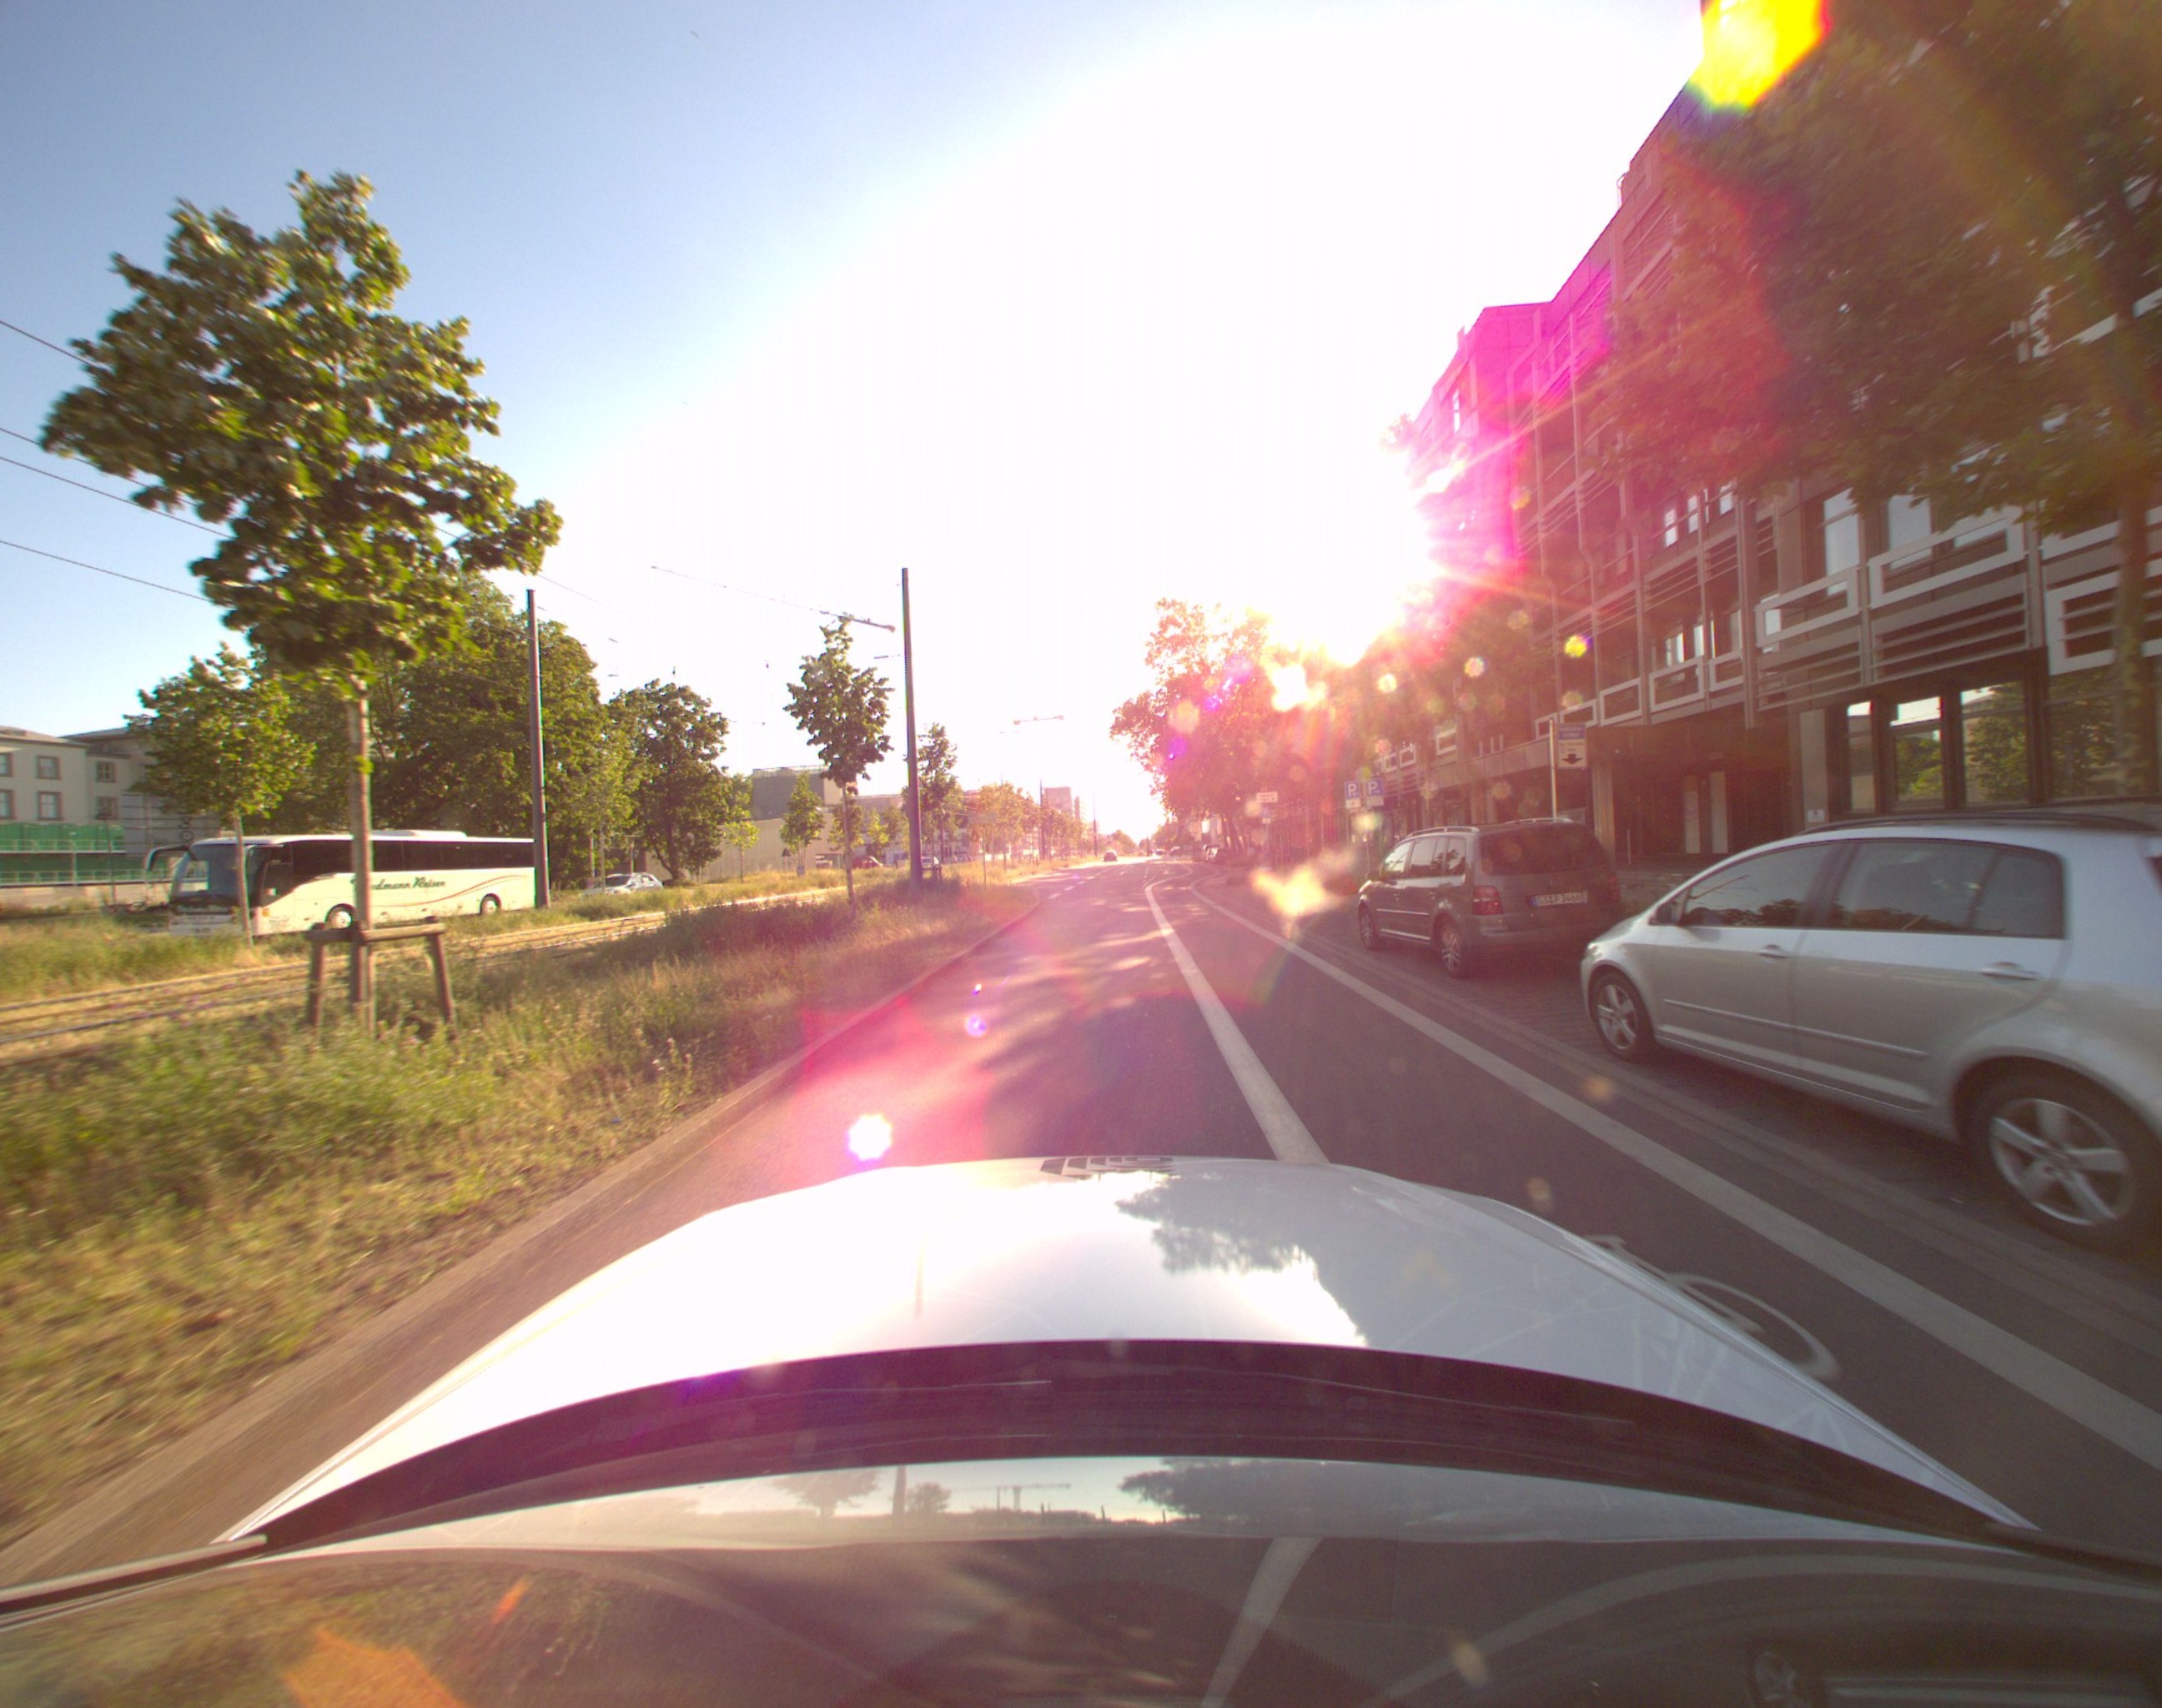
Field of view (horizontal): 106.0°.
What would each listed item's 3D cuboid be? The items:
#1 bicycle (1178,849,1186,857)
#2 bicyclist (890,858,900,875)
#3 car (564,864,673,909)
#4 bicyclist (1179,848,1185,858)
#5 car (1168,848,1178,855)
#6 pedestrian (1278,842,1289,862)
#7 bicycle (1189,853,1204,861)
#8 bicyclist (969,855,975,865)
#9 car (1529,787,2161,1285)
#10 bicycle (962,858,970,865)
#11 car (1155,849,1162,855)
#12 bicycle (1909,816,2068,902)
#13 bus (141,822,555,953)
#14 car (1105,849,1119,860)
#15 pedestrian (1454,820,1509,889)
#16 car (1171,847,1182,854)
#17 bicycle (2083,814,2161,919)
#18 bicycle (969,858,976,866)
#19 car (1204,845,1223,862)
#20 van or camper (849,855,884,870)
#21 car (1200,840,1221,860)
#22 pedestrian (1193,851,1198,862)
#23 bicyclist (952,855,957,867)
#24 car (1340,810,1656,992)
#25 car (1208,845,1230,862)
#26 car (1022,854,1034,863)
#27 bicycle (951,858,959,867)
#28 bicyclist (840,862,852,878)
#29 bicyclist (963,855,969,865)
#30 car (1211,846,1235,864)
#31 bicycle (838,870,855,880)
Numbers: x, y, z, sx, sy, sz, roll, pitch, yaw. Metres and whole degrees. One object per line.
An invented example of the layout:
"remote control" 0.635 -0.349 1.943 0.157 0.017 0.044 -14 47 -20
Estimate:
"bicycle" 15.795 -0.221 127.779 0.793 1.204 2.274 -2 0 17
"bicyclist" -19.231 1.310 84.229 0.684 1.708 0.955 -2 0 5
"car" -19.385 1.333 34.384 1.986 1.643 4.170 -2 0 3
"bicyclist" 15.862 -0.152 127.801 0.797 1.602 0.786 -2 0 3
"car" 20.405 -0.491 180.027 1.932 1.484 3.929 -2 0 3
"pedestrian" 19.449 -0.227 78.186 0.828 1.856 0.848 -2 0 4
"bicycle" 13.796 0.335 97.628 1.680 0.867 0.574 -4 0 13
"bicyclist" -16.070 0.847 120.254 0.581 1.442 1.077 -2 0 5
"car" 4.445 0.547 4.419 1.721 1.621 4.218 -4 0 2
"bicycle" -16.886 1.098 119.660 0.581 1.105 1.991 -2 0 6
"car" 20.346 -0.473 213.936 1.751 1.484 3.853 -2 0 3
"bicycle" 12.572 0.075 11.306 1.619 1.082 0.393 -3 0 4
"bus" -24.785 0.929 29.311 2.787 3.594 12.708 -2 0 3
"car" 4.334 0.036 112.445 1.769 1.428 4.004 -1 0 3
"pedestrian" 10.125 0.019 20.621 0.786 1.648 1.138 -3 0 3
"car" 18.649 -0.678 159.594 1.932 1.428 3.929 -2 0 3
"bicycle" 12.220 0.096 8.989 1.895 1.093 0.392 -4 0 -3
"bicycle" -16.059 1.116 120.301 0.581 1.105 1.991 -2 0 6
"car" 13.517 -0.049 83.137 1.671 1.514 5.072 -5 0 9
"van or camper" -38.732 1.565 147.085 5.631 2.414 2.159 -2 0 6
"car" 14.177 -0.453 89.461 1.820 1.970 5.329 -5 0 5
"pedestrian" 17.701 0.385 126.406 0.631 1.608 0.571 -4 0 5
"bicyclist" -16.770 0.933 108.007 0.554 1.507 0.669 -2 0 5
"car" 4.858 0.455 10.353 1.721 1.688 4.516 -4 0 2
"car" 13.122 -0.060 77.593 1.673 1.478 3.880 -5 0 5
"car" -11.613 1.009 177.454 1.984 1.776 4.005 -2 0 5
"bicycle" -16.757 1.145 108.037 0.556 1.060 1.901 -2 0 5
"bicyclist" -20.312 1.397 70.495 0.685 1.346 0.872 -2 0 3
"bicyclist" -16.920 0.870 119.447 0.581 1.442 1.077 -2 0 5
"car" 12.379 0.039 71.213 1.698 1.418 4.283 -5 0 5
"bicycle" -20.293 1.822 70.529 0.685 0.804 2.147 -2 0 3
